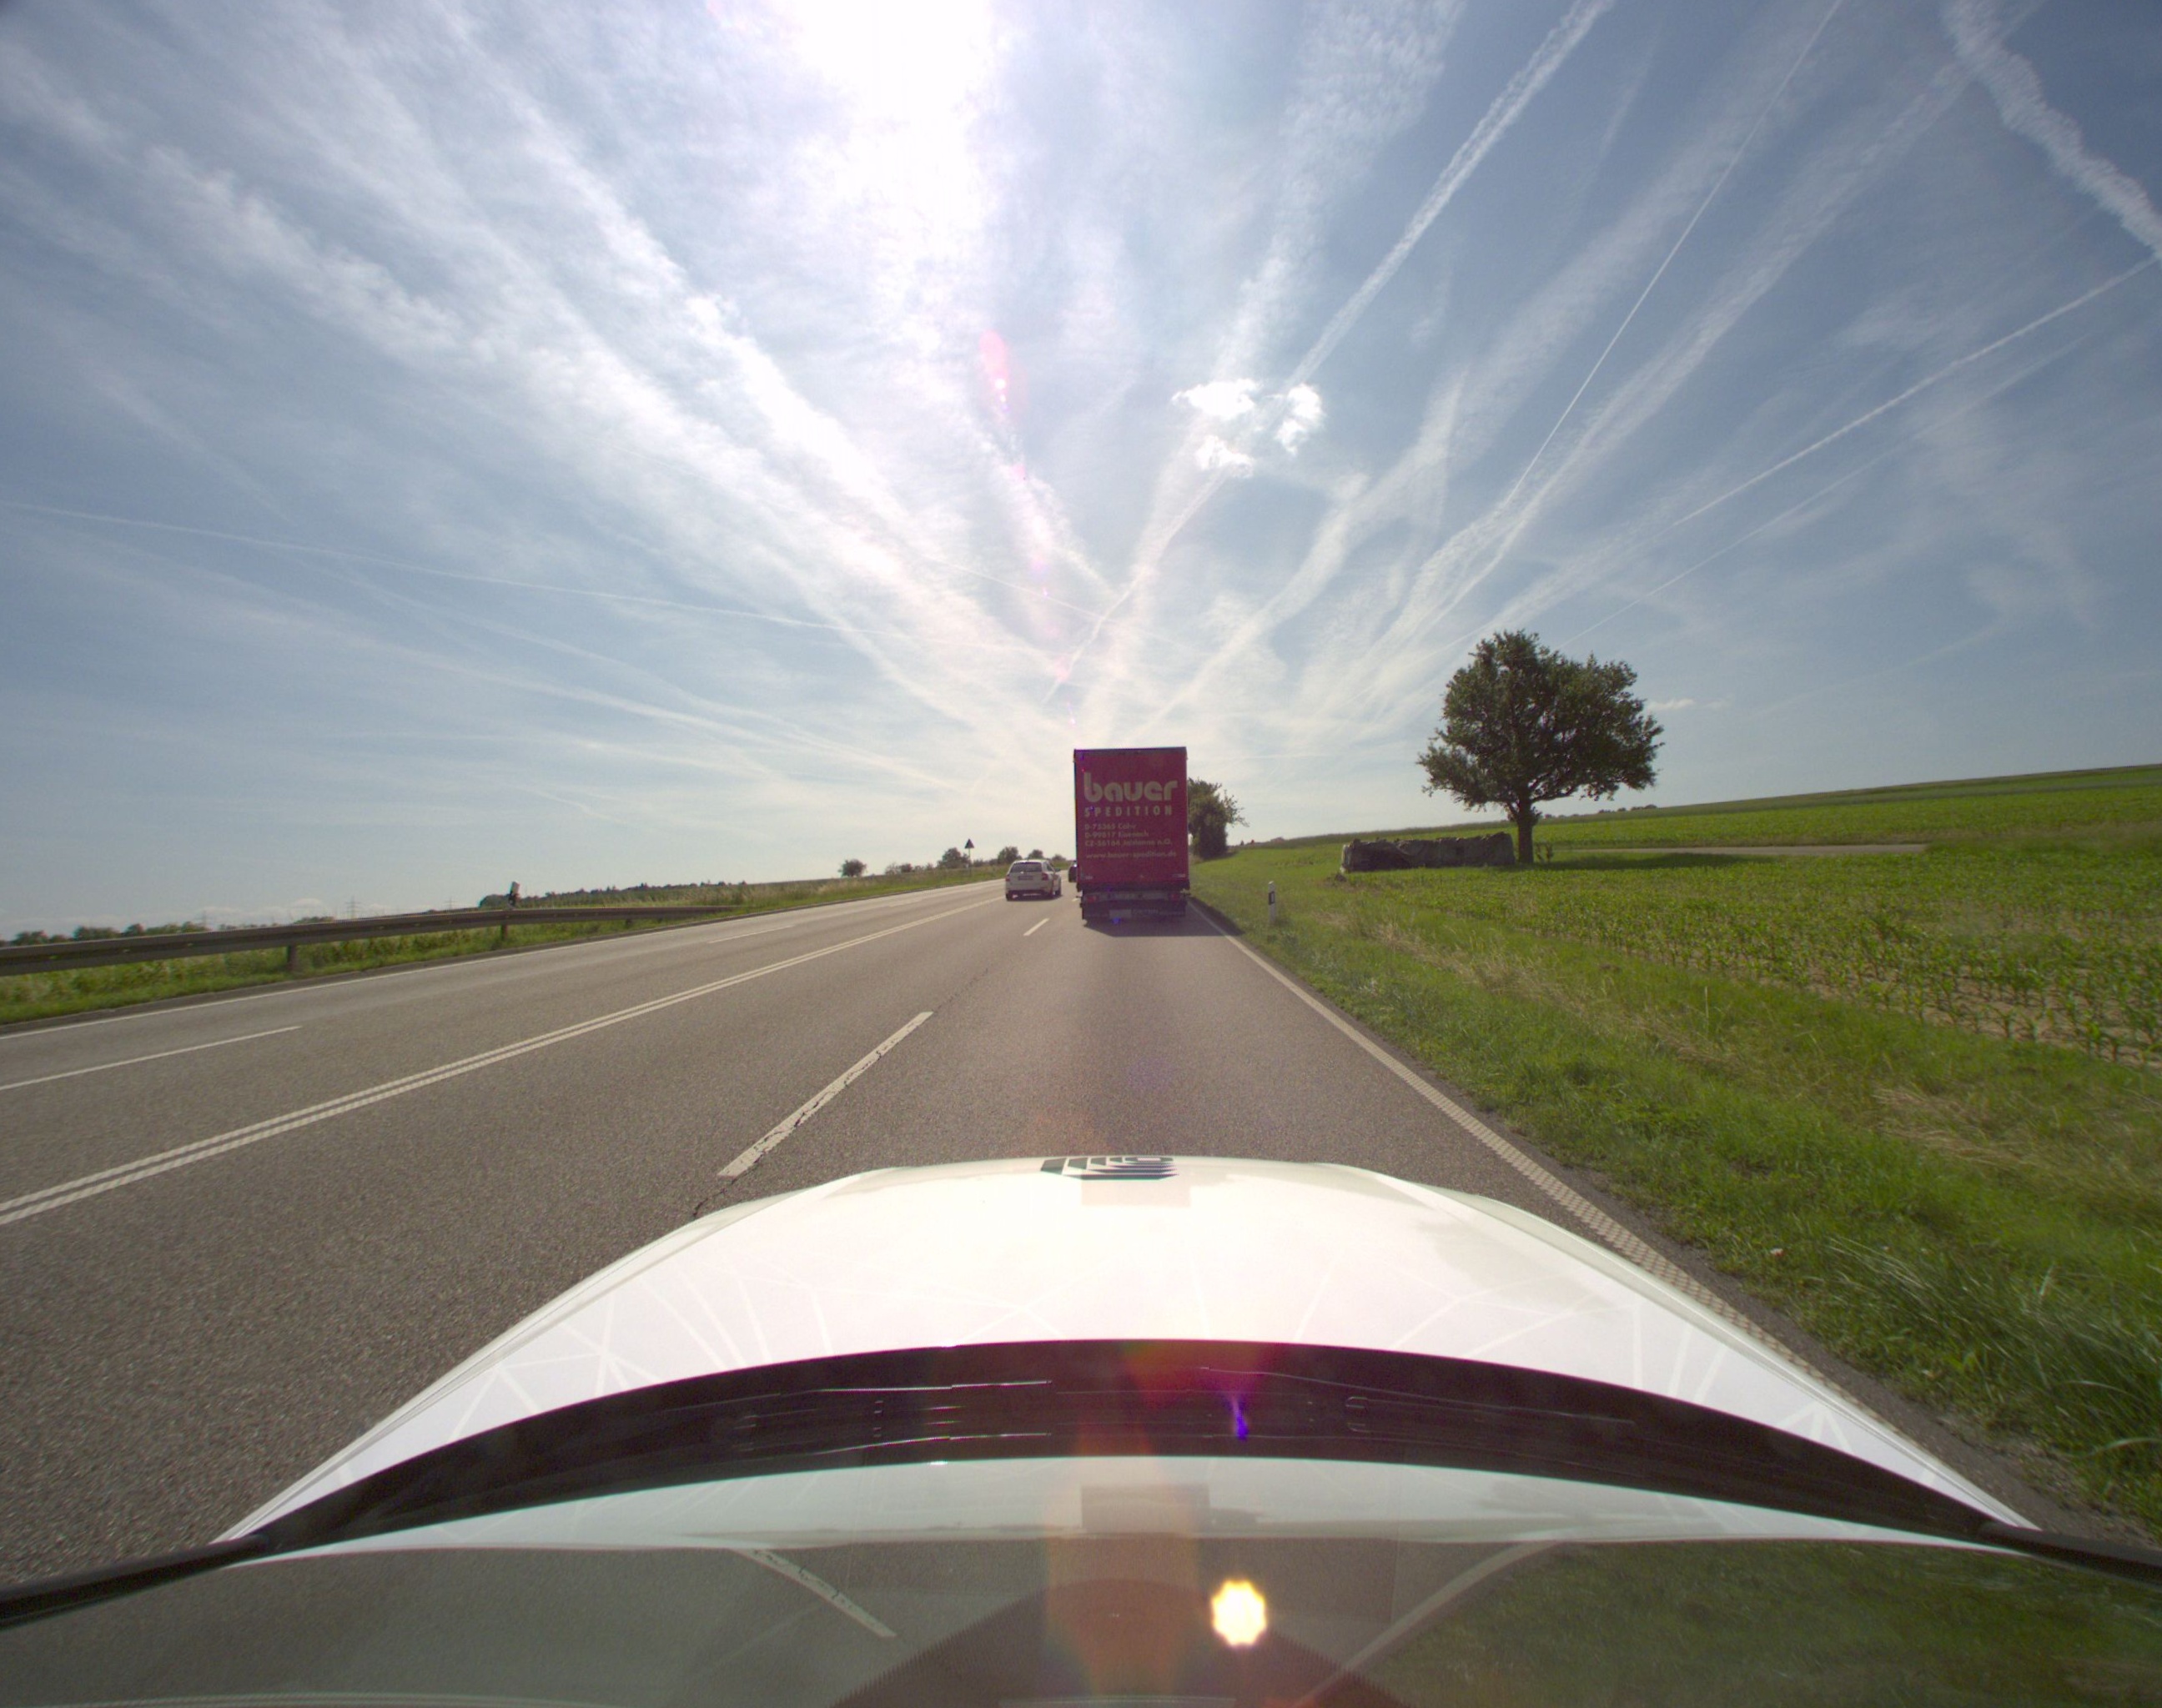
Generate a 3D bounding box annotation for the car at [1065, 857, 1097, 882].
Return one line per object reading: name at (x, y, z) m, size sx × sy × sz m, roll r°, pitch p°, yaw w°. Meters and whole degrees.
car at (0.061, 0.926, 50.729) m, size 1.698 × 1.472 × 4.815 m, roll -1°, pitch 0°, yaw 3°

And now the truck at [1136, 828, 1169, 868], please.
truck at (8.019, -0.568, 89.443) m, size 3.031 × 3.910 × 15.643 m, roll -2°, pitch 0°, yaw 6°

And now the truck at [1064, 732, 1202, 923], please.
truck at (1.671, -0.516, 26.268) m, size 2.994 × 4.180 × 16.729 m, roll -1°, pitch 0°, yaw 4°

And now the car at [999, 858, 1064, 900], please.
car at (-1.830, 0.894, 31.450) m, size 1.812 × 1.472 × 4.794 m, roll -1°, pitch 0°, yaw 4°

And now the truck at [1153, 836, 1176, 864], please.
truck at (13.103, -0.523, 126.640) m, size 3.030 × 3.910 × 18.434 m, roll -2°, pitch 0°, yaw 7°

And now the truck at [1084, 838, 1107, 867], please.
truck at (2.200, -0.212, 122.166) m, size 2.603 × 4.101 × 6.099 m, roll -3°, pitch 0°, yaw 7°
